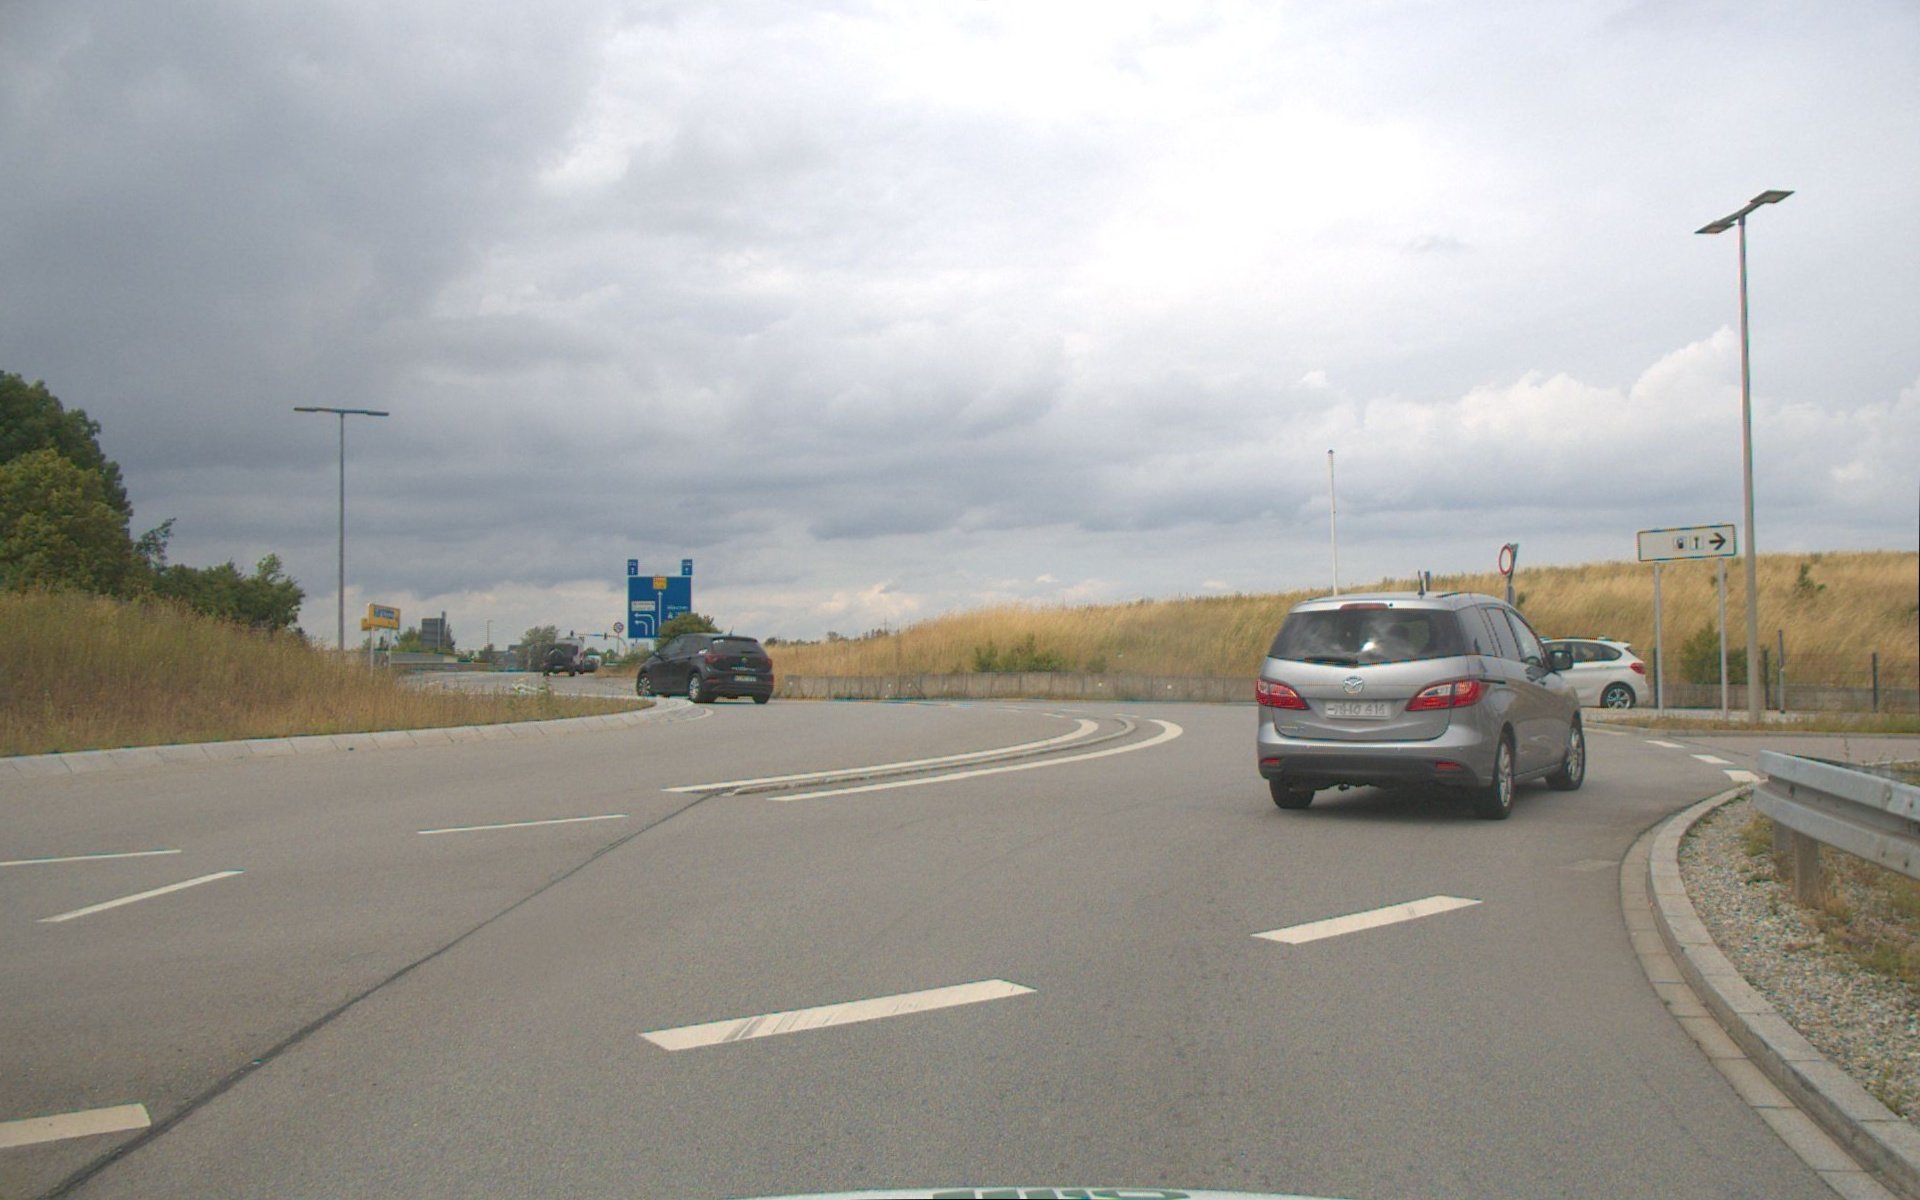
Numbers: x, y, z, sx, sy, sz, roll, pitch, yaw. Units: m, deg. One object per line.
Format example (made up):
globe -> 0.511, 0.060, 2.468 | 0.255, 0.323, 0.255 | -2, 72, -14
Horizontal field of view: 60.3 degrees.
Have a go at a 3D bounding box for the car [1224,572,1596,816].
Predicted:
car -> 3.698, 0.698, 13.087 | 1.875, 1.602, 3.991 | -1, -3, 30

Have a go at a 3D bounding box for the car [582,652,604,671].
car -> -32.522, 5.469, 146.667 | 1.573, 1.576, 4.026 | -1, -1, -17

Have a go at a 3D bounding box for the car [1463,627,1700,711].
car -> 12.969, 1.428, 34.678 | 4.322, 1.657, 1.784 | 0, 0, 0

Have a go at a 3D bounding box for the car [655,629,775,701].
car -> -5.299, 1.339, 35.392 | 1.638, 1.402, 3.973 | -1, -1, -22

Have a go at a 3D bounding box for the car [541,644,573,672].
car -> -24.302, 3.498, 99.680 | 1.573, 1.576, 4.026 | -1, -1, -17
